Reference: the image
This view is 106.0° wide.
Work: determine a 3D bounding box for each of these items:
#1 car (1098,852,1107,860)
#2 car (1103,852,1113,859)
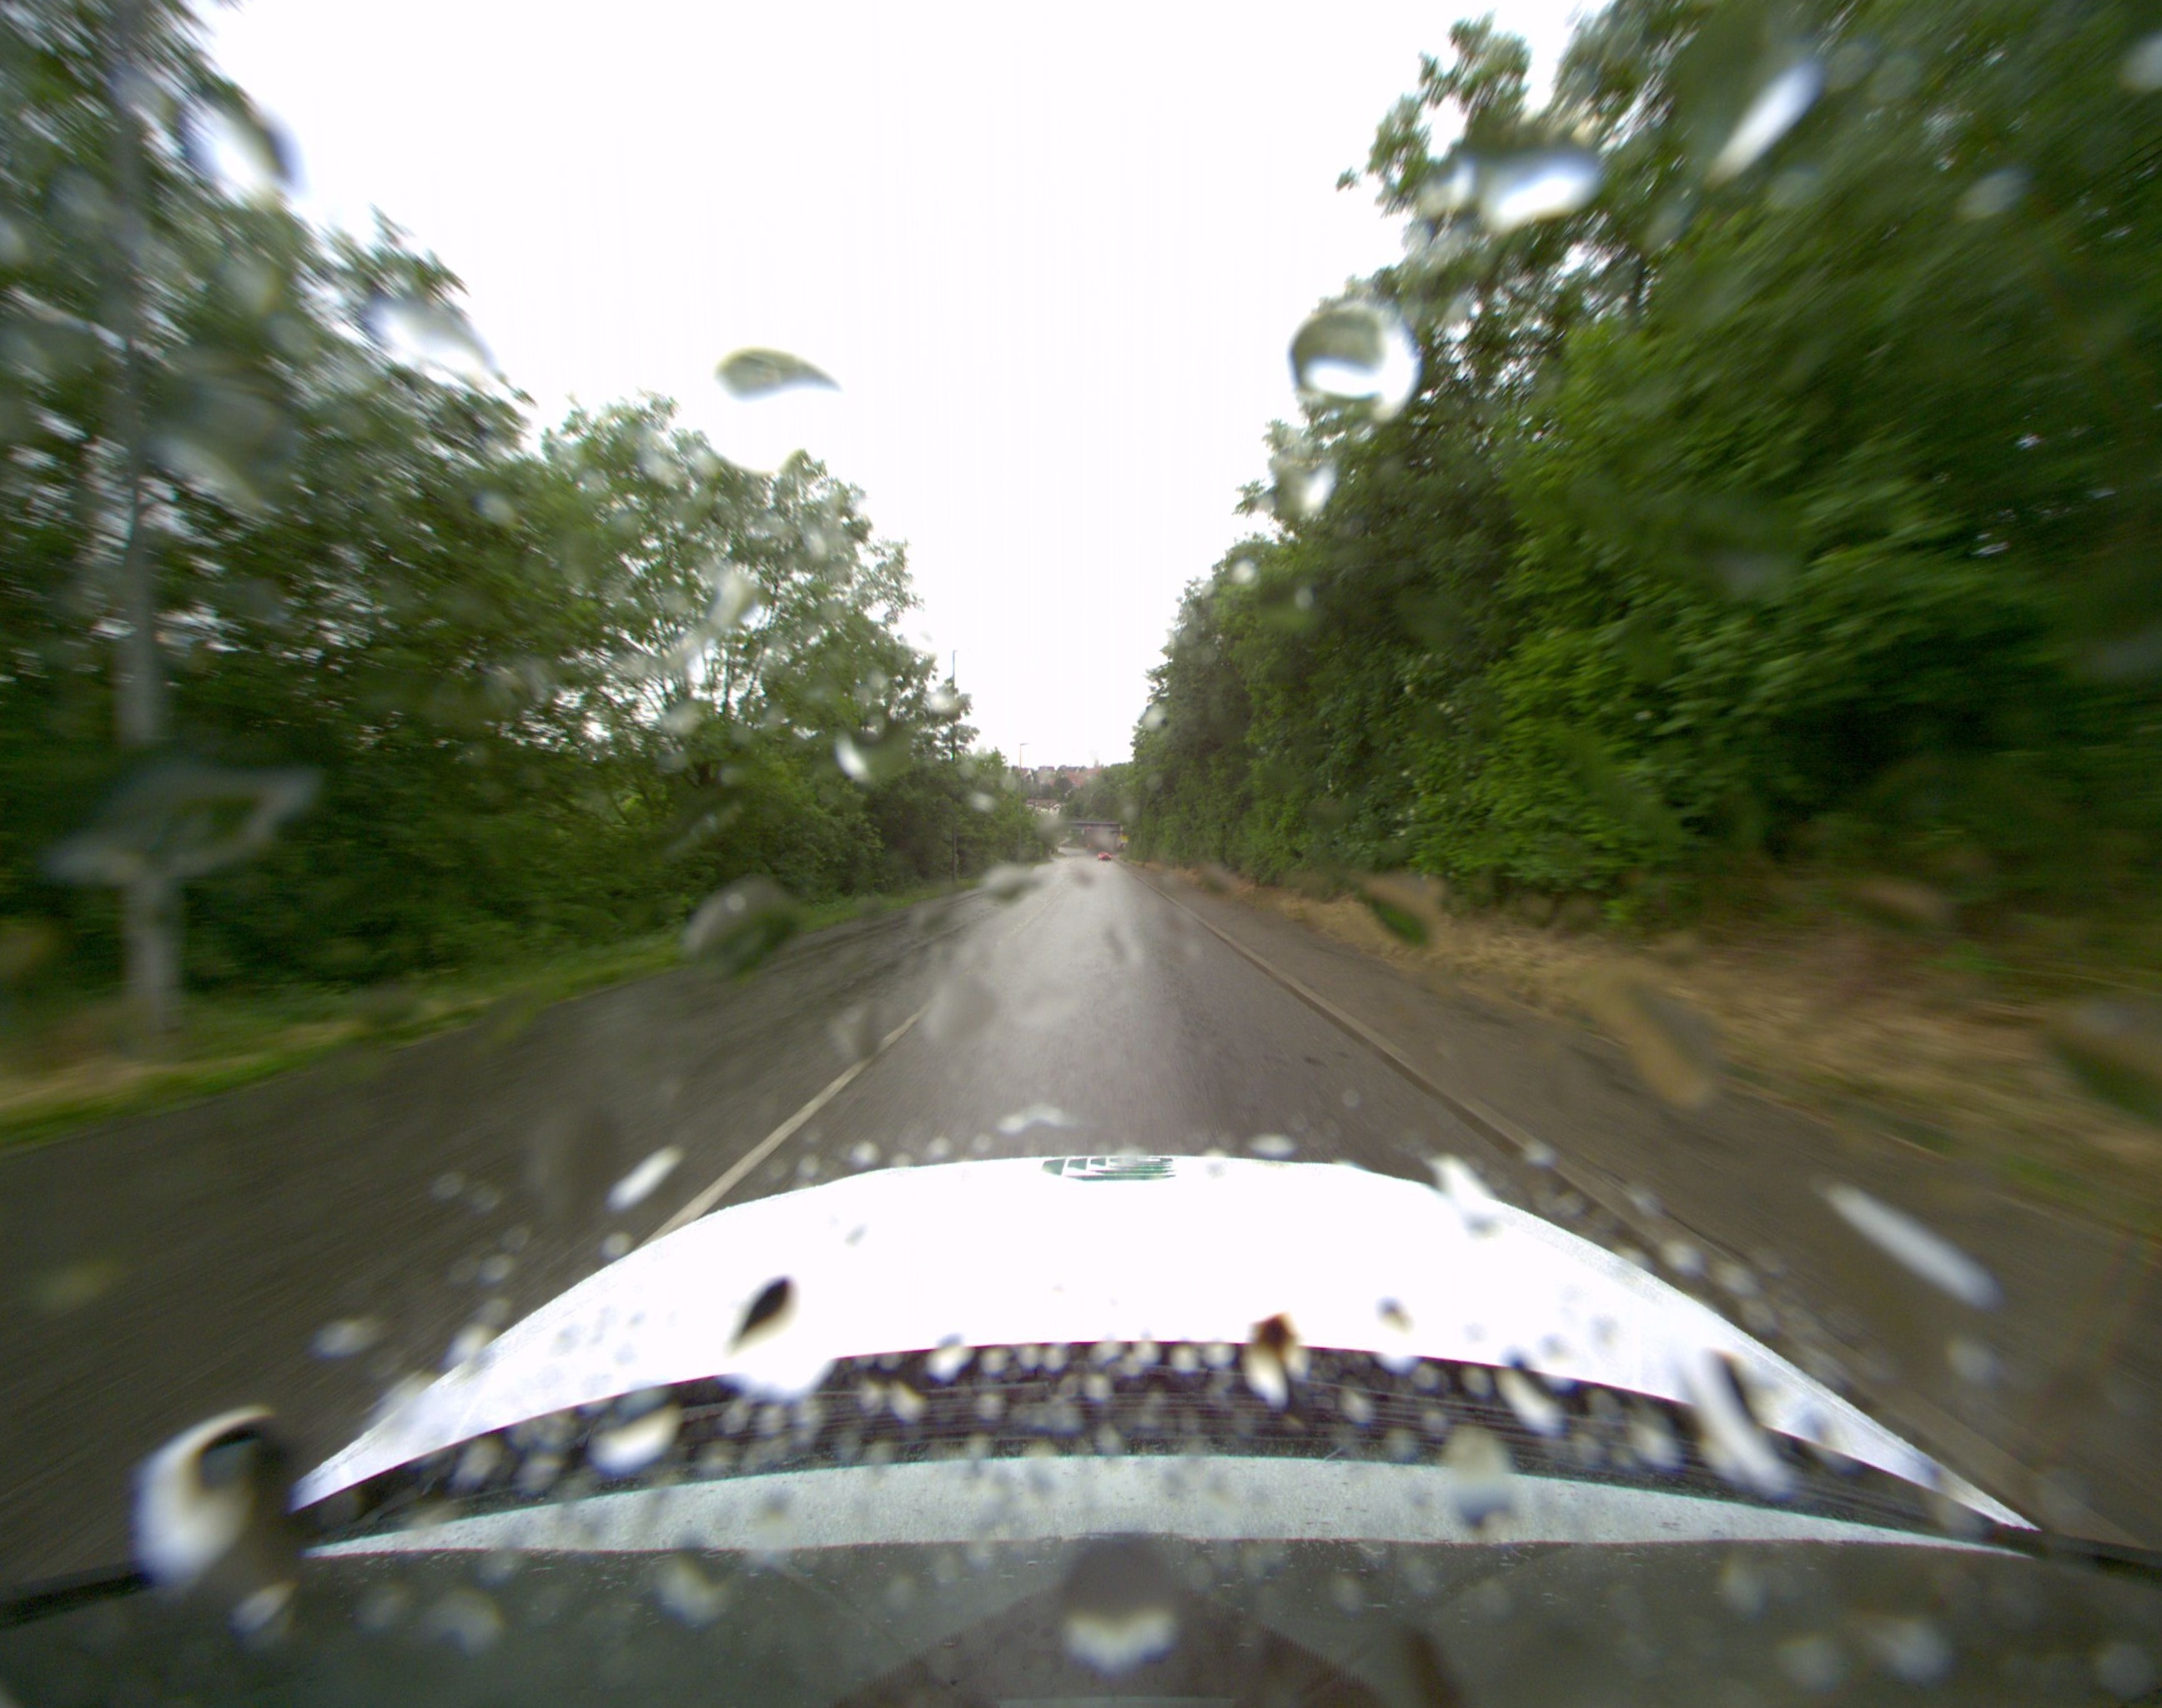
[{"bbox_3d":[4.385,0.407,163.234,1.761,1.563,4.002,-1,0,2],"label":"car"},{"bbox_3d":[5.169,0.272,156.548,1.761,1.380,4.002,-1,0,2],"label":"car"}]
